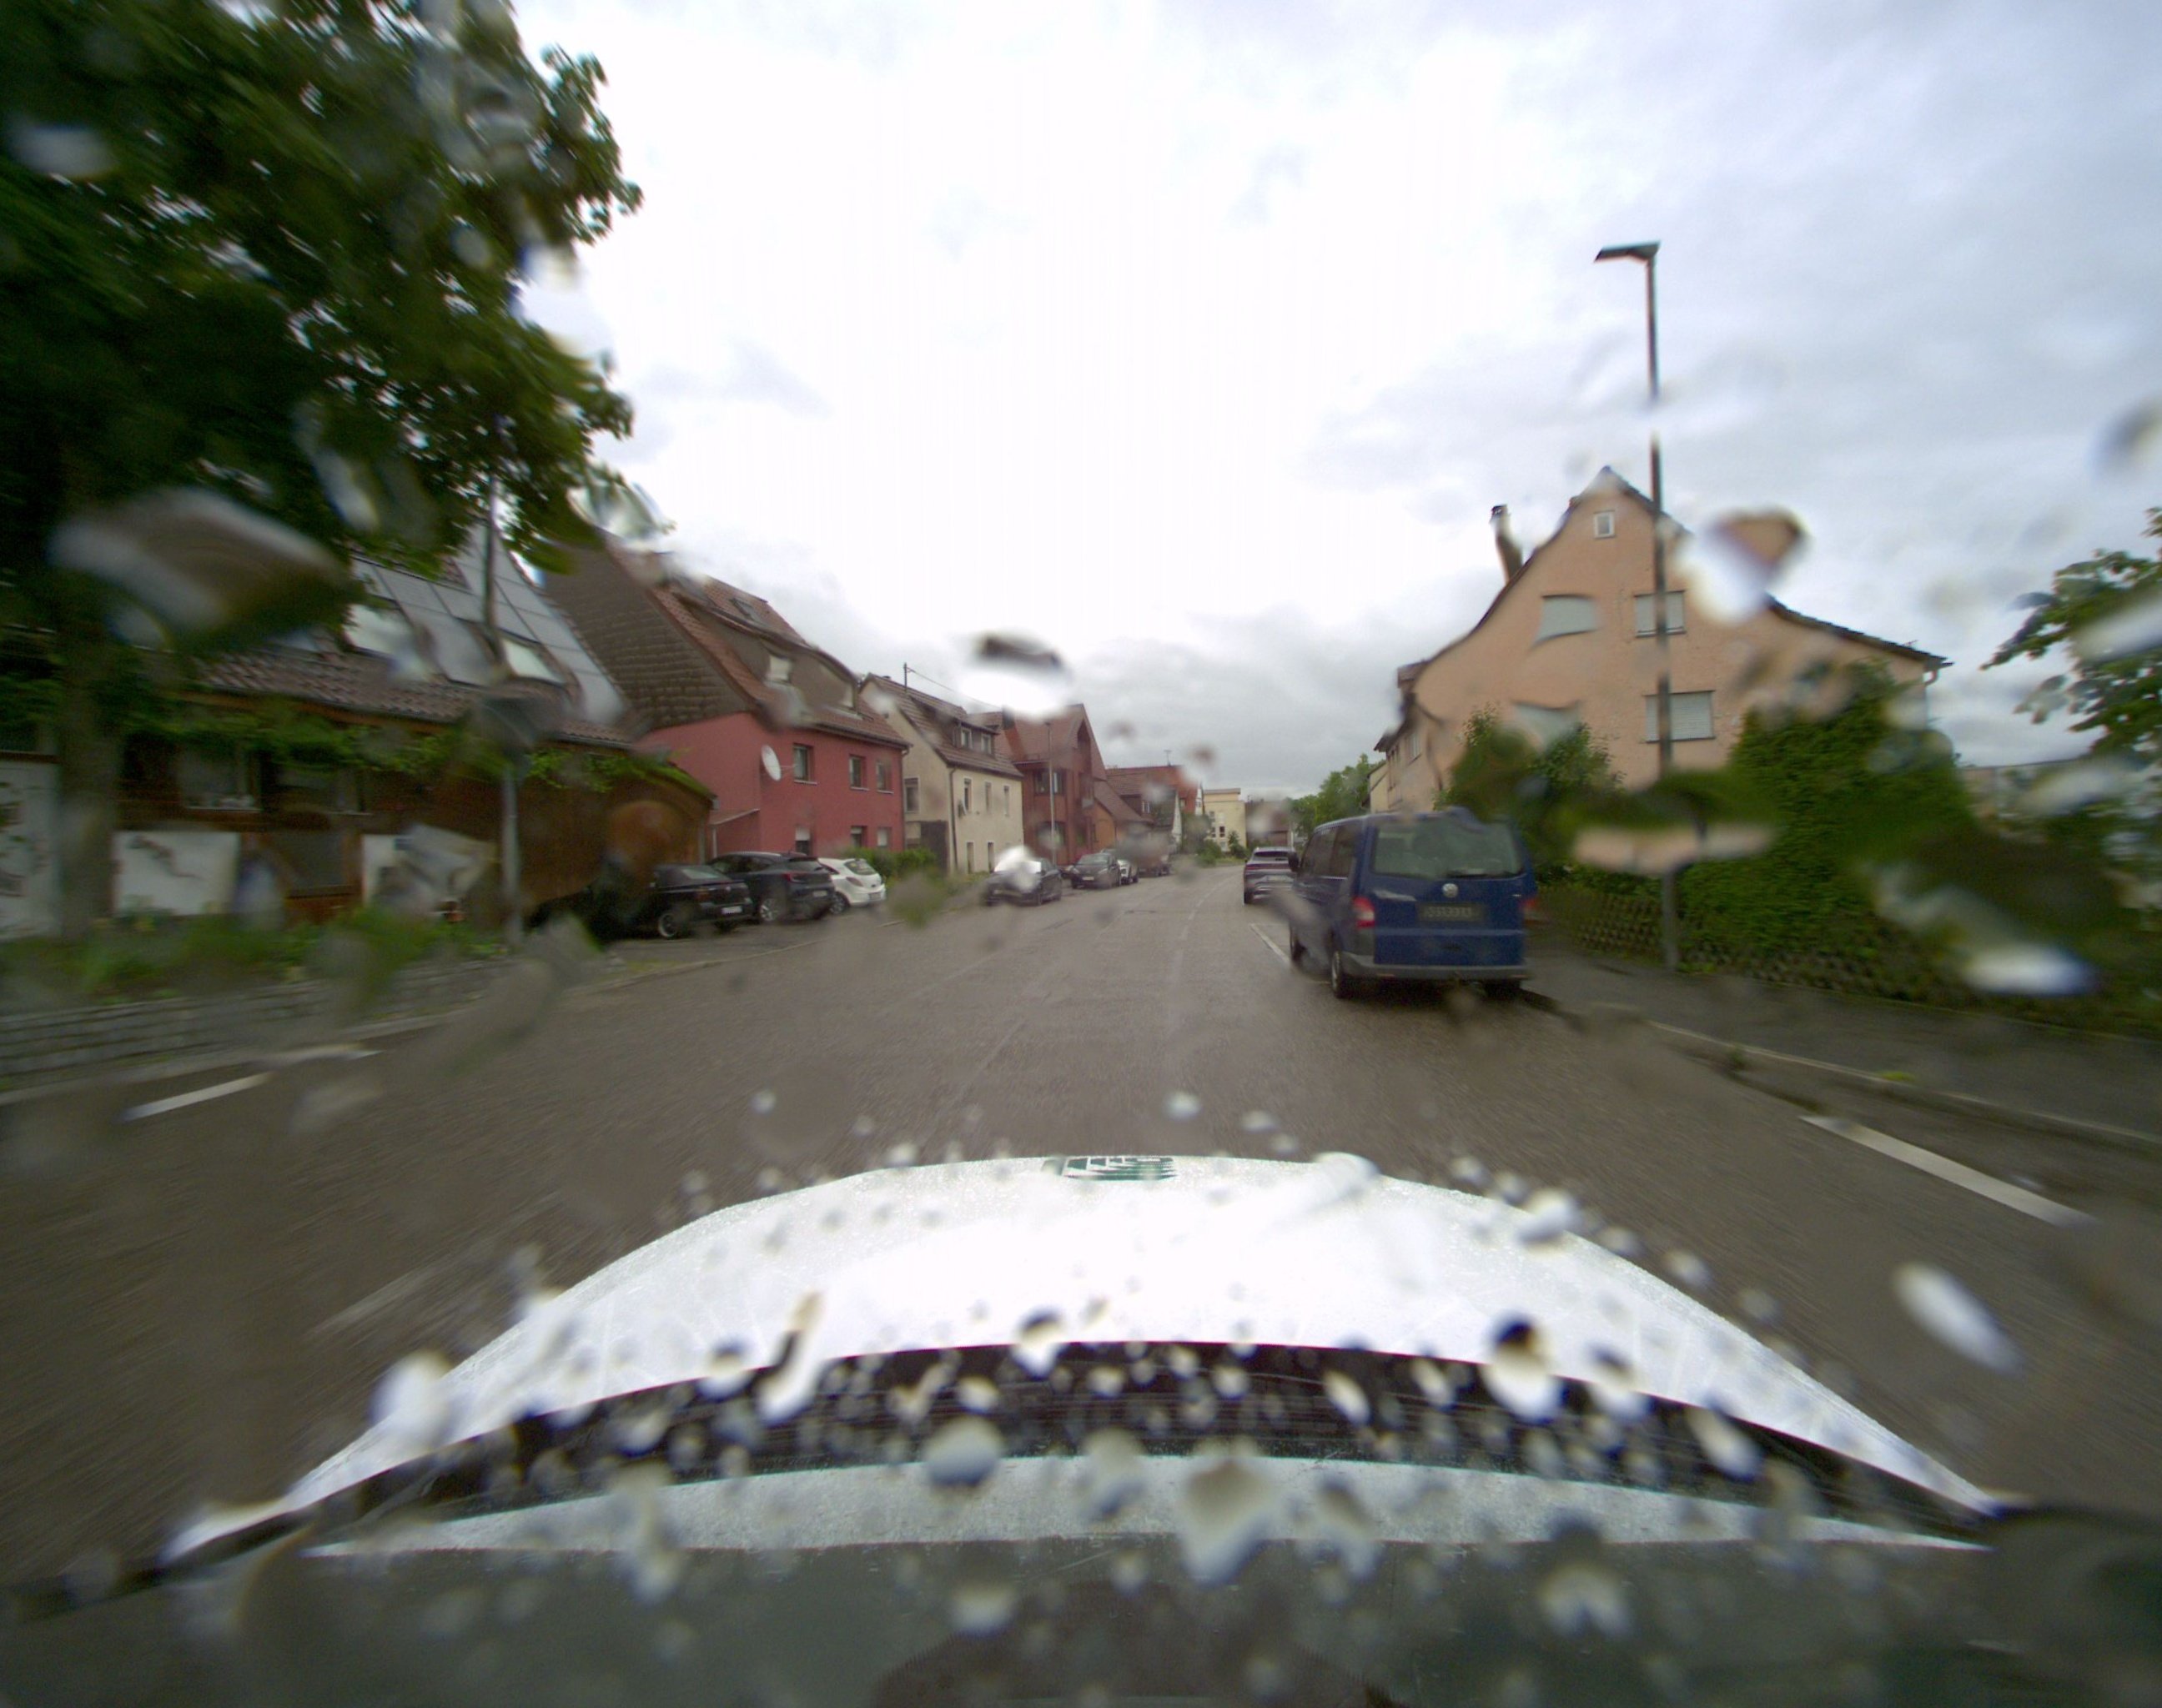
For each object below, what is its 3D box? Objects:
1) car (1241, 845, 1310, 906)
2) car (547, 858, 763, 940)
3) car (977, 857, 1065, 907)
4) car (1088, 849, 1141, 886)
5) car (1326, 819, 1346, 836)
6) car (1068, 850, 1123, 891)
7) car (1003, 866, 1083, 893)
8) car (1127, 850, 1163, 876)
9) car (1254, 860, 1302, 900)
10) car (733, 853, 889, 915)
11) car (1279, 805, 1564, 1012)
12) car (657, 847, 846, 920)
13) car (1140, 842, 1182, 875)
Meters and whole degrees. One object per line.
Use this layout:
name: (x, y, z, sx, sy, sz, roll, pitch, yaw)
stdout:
car: (6.044, 0.597, 25.376, 1.895, 1.717, 4.572, 0, 0, 13)
car: (-8.173, 0.842, 15.706, 3.421, 1.418, 1.639, -2, -1, 14)
car: (-1.743, 0.799, 25.027, 1.616, 1.356, 4.124, 0, 0, 12)
car: (1.689, 0.615, 39.250, 1.752, 1.619, 4.672, -2, 0, 12)
car: (24.243, -2.460, 77.318, 1.624, 1.430, 3.695, -2, 0, 19)
car: (0.663, 0.671, 34.998, 1.594, 1.617, 3.288, -2, 0, 14)
car: (-2.164, 1.463, 46.693, 4.137, 1.403, 1.798, -2, -1, 20)
car: (3.871, 0.520, 48.898, 1.567, 1.497, 3.580, -2, 0, 13)
car: (8.499, 1.080, 35.405, 1.791, 1.595, 4.625, -1, 0, 11)
car: (-6.834, 0.727, 20.730, 3.436, 1.479, 1.597, 0, 0, 15)
car: (3.737, 0.510, 9.981, 1.921, 1.902, 4.801, 0, 0, 6)
car: (-7.429, 0.612, 18.468, 3.548, 1.506, 1.863, 1, 0, 16)
car: (5.363, 0.309, 53.736, 1.808, 2.013, 5.236, -2, 0, 16)
